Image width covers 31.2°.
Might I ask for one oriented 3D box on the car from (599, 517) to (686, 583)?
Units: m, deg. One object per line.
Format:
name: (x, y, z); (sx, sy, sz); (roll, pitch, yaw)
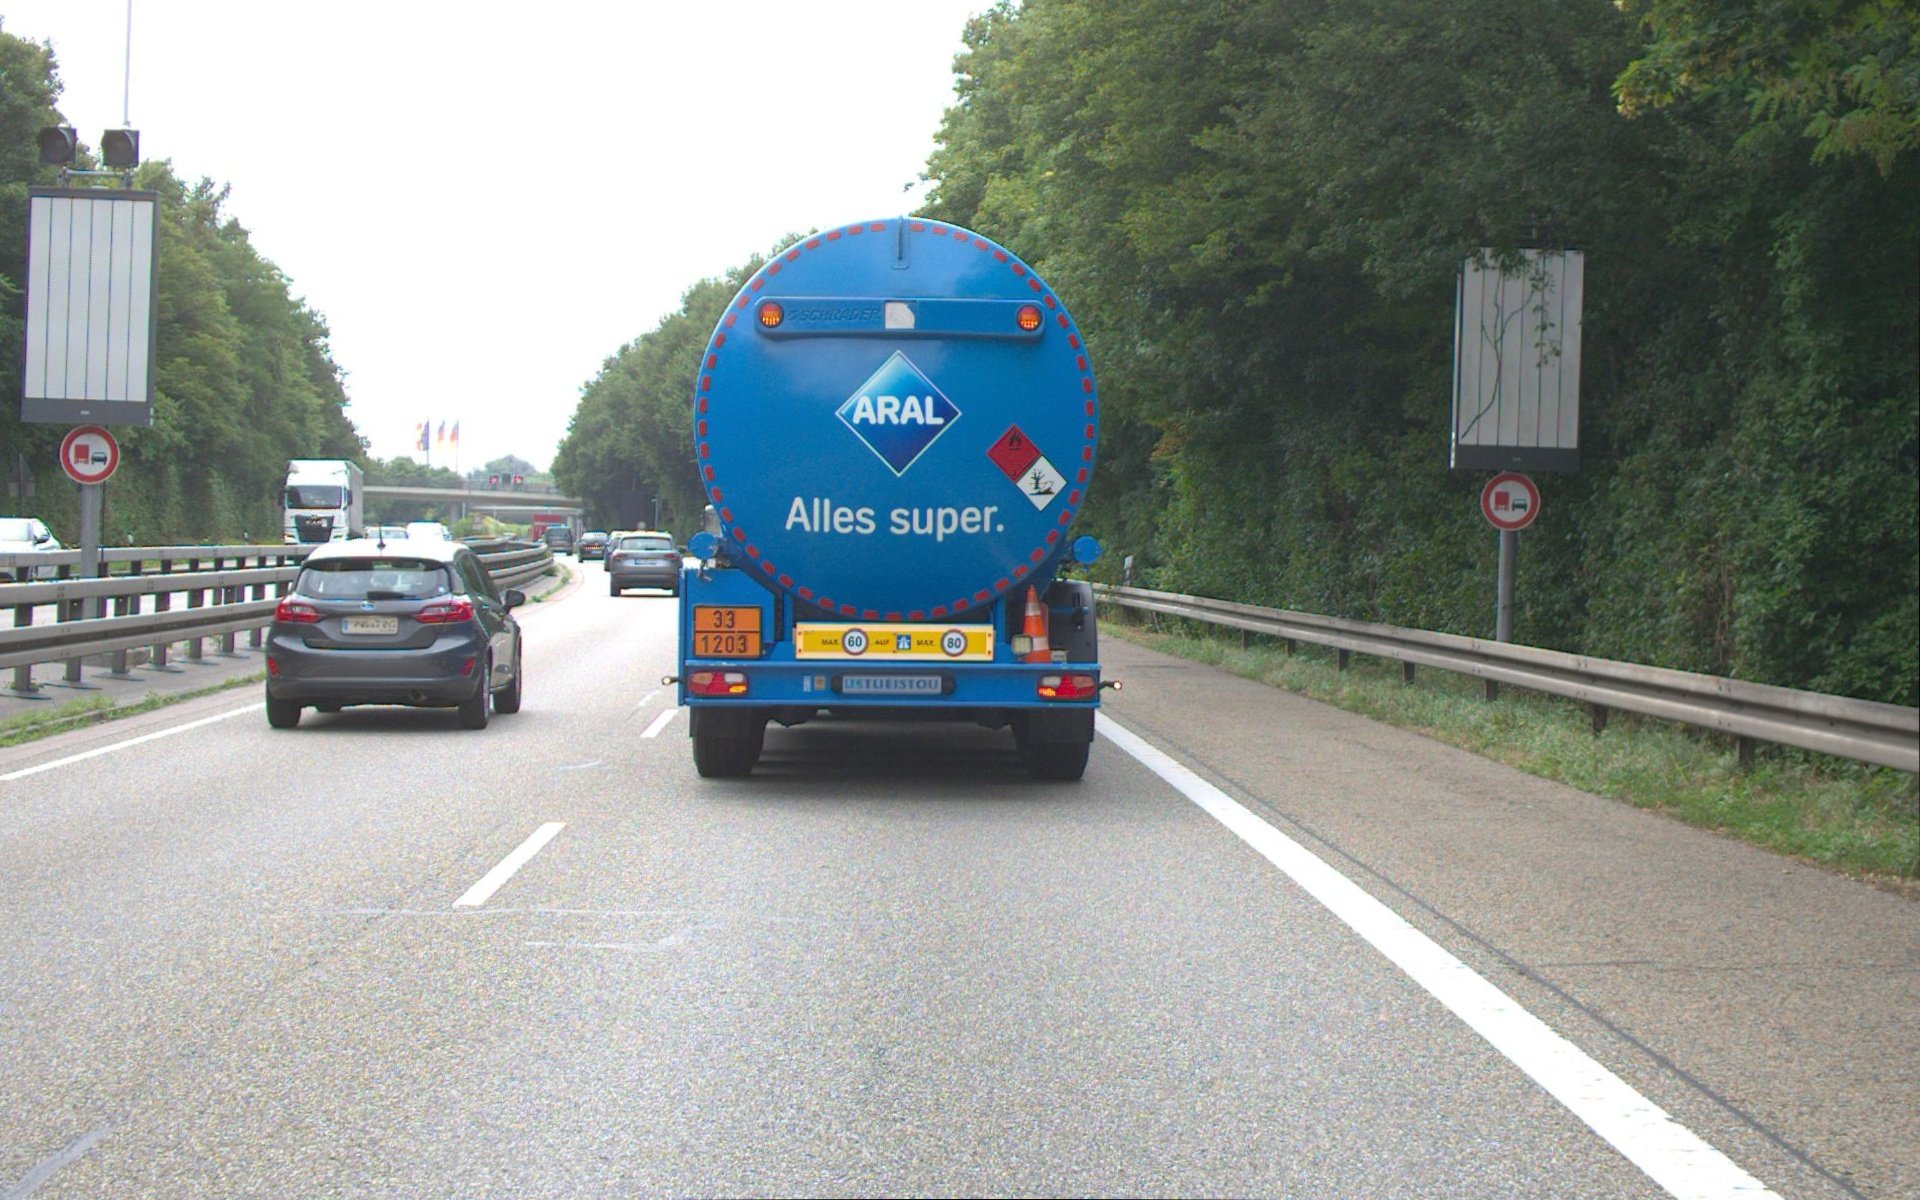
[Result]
car: (-7.925, -1.257, 86.065); (1.826, 1.604, 4.168); (0, 1, -1)

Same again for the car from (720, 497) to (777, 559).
car: (-7.744, -2.639, 126.028); (1.993, 2.237, 4.000); (0, 1, -2)

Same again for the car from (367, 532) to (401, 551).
car: (-37.114, -3.747, 221.488); (1.742, 1.185, 4.291); (0, 1, -4)

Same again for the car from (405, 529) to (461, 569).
car: (-20.864, -2.026, 136.182); (1.791, 1.544, 4.129); (0, 1, -3)

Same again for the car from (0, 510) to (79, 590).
car: (-18.379, -0.968, 66.134); (1.993, 1.476, 4.132); (0, 1, -3)

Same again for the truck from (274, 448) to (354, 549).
truck: (-26.503, -4.136, 141.138); (2.692, 4.049, 5.323); (0, 1, -5)

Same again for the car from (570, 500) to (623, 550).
car: (-14.831, -3.036, 140.245); (1.993, 2.007, 4.001); (0, 1, -8)

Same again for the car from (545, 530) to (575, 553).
car: (-27.172, -3.995, 233.658); (1.993, 1.546, 4.001); (0, 1, -6)

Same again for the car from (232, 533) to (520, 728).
car: (-4.653, 0.191, 27.986); (1.826, 1.453, 4.640); (0, 1, -4)

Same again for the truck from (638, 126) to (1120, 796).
truck: (-0.557, -0.877, 23.567); (2.755, 3.833, 7.689); (0, 1, -1)

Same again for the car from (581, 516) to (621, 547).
car: (-18.371, -3.517, 175.962); (1.954, 1.562, 4.001); (0, 1, -5)
